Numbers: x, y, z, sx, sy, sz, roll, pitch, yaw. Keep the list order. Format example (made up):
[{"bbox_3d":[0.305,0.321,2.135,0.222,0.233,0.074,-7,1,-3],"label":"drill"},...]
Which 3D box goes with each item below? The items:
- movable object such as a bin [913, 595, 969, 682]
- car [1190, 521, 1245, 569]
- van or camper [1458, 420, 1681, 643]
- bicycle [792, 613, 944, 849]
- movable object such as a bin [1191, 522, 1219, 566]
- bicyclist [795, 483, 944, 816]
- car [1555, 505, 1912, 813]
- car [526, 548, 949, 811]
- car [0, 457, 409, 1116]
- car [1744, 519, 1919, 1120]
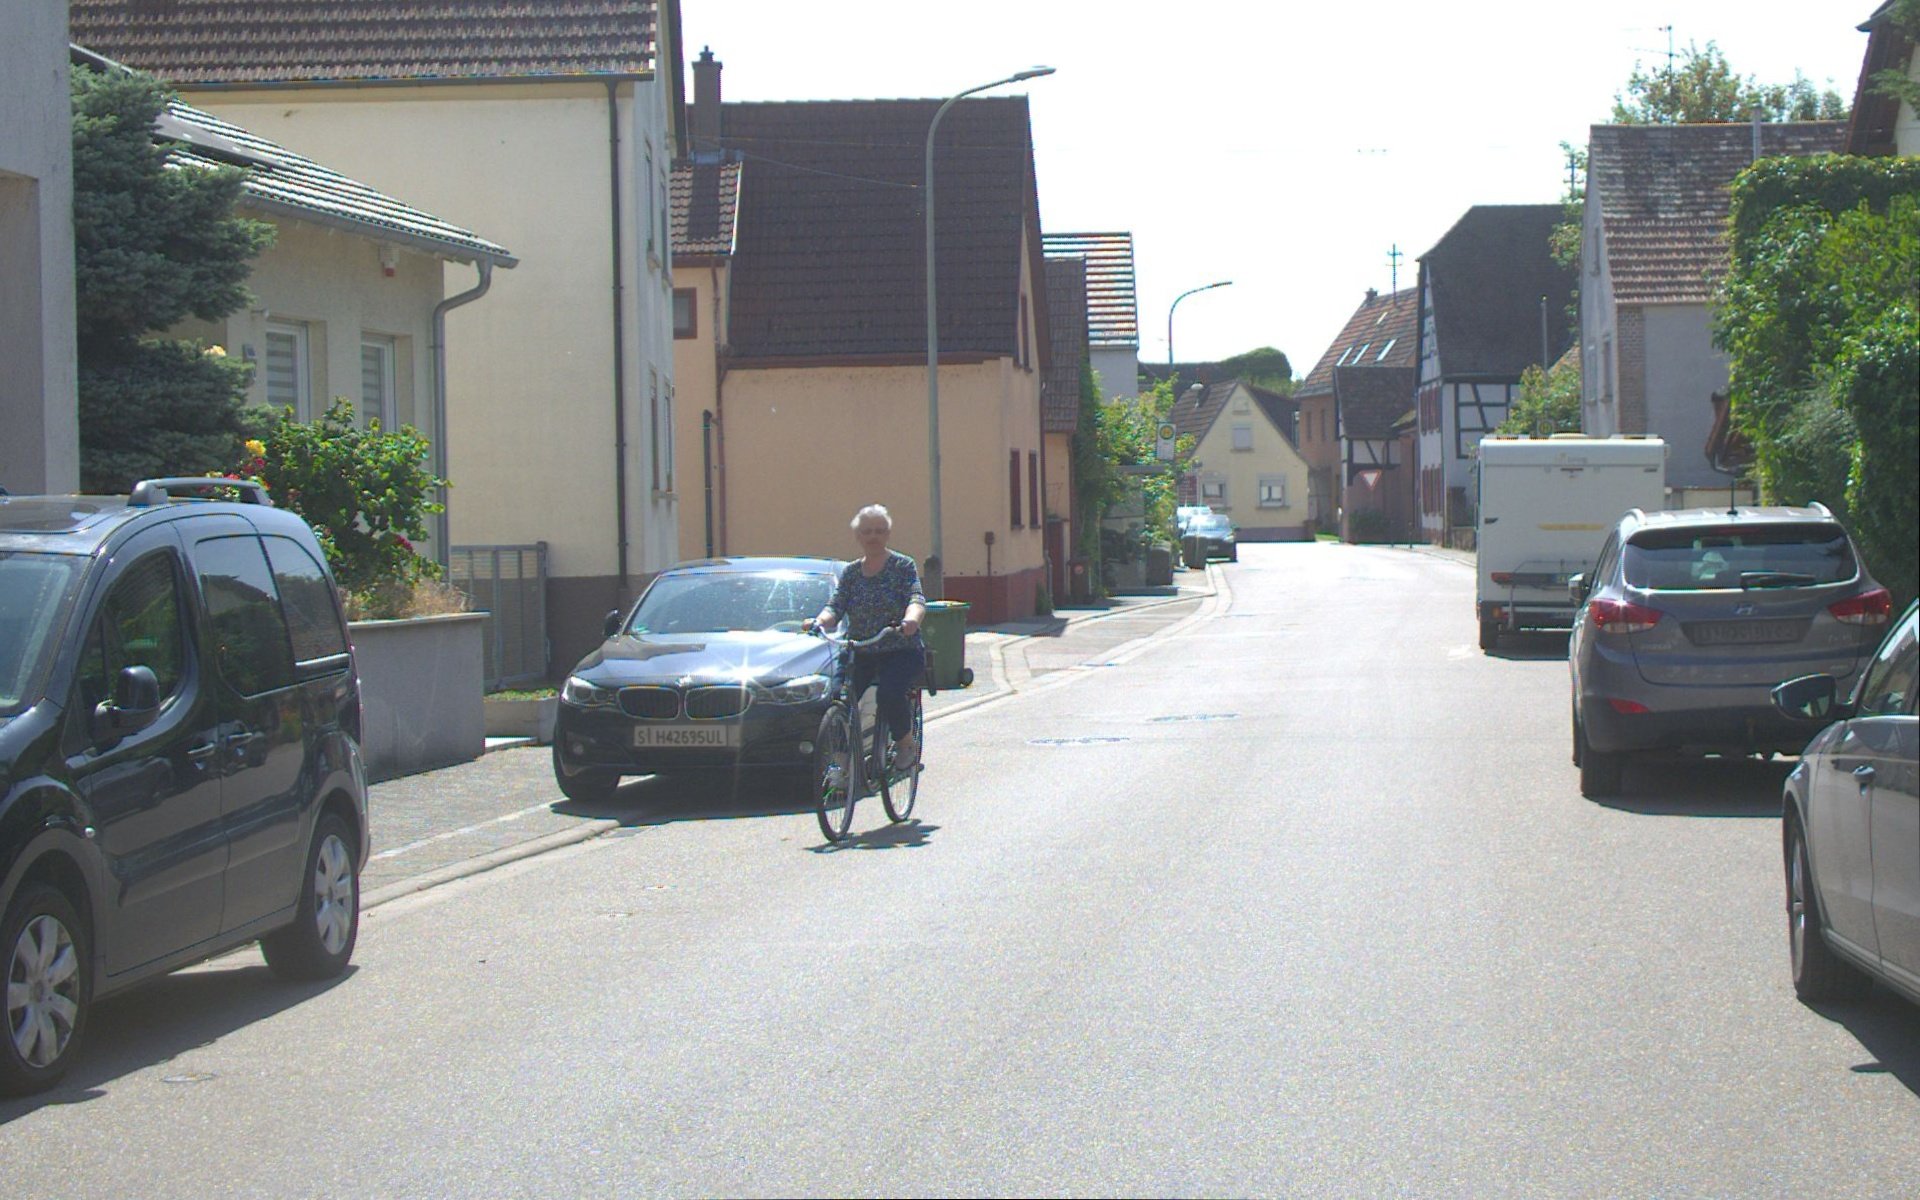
[{"bbox_3d":[-0.207,0.422,37.930,0.539,0.946,0.553,0,1,7],"label":"movable object such as a bin"},{"bbox_3d":[8.135,-1.734,108.421,1.512,1.431,3.510,-2,1,7],"label":"car"},{"bbox_3d":[7.805,-0.884,44.467,2.522,2.687,4.554,-1,1,7],"label":"van or camper"},{"bbox_3d":[-0.478,0.678,18.667,0.589,1.144,1.948,-2,1,4],"label":"bicycle"},{"bbox_3d":[6.841,-1.568,96.029,0.689,1.181,0.714,-2,1,8],"label":"movable object such as a bin"},{"bbox_3d":[-0.487,0.260,18.685,0.704,1.765,0.625,-2,1,4],"label":"bicyclist"},{"bbox_3d":[4.579,0.267,20.880,1.794,1.625,4.359,-1,2,9],"label":"car"},{"bbox_3d":[-1.348,0.445,22.924,1.845,1.521,4.764,-1,1,8],"label":"car"},{"bbox_3d":[-3.366,0.502,11.228,1.835,1.831,4.352,-1,1,8],"label":"car"},{"bbox_3d":[3.442,0.510,9.796,1.820,1.503,4.581,-1,1,6],"label":"car"}]
